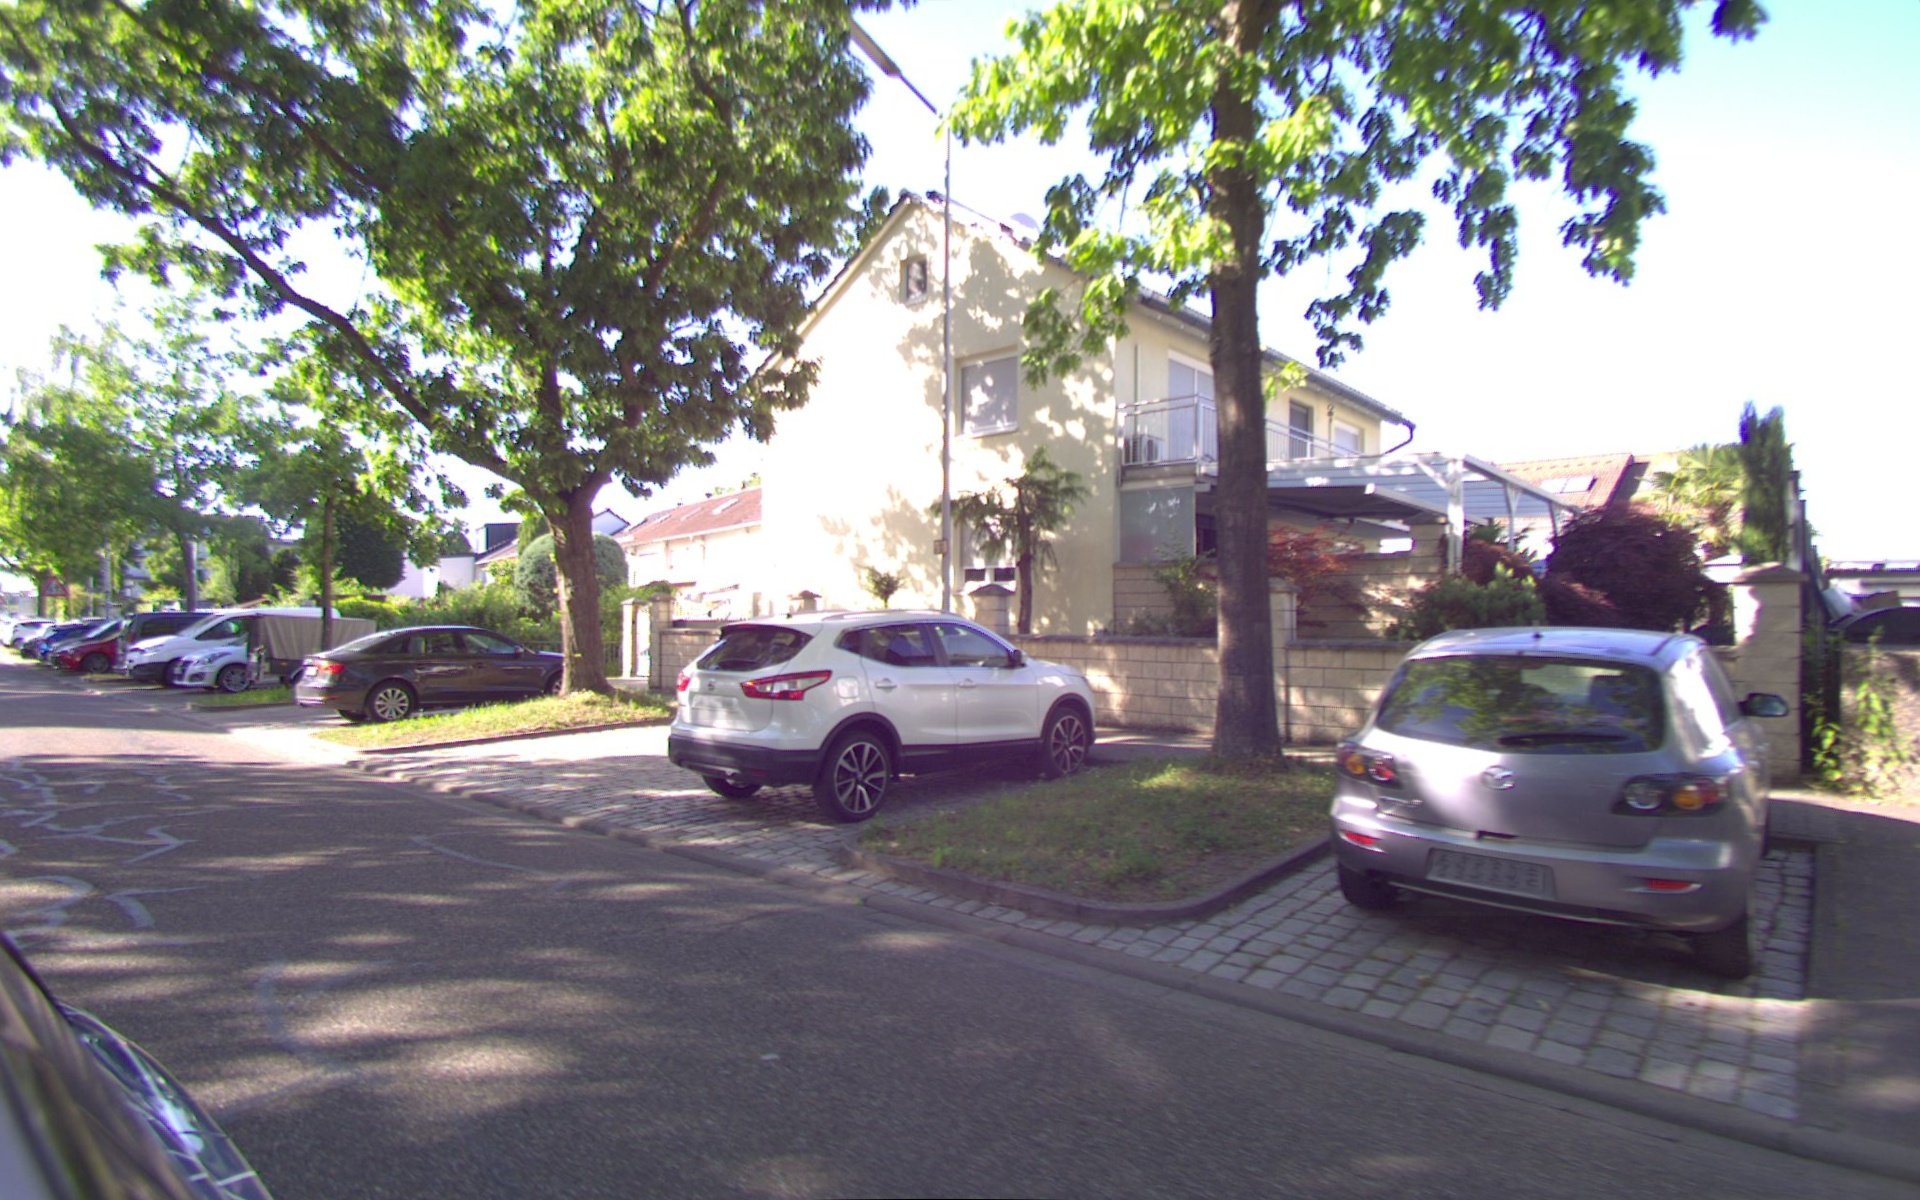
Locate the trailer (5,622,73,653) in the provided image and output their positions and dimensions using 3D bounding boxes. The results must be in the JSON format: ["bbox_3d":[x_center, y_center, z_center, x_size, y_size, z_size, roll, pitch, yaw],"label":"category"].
[{"bbox_3d":[-53.204,2.156,58.458,1.298,1.659,2.732,1,0,39],"label":"trailer"}]

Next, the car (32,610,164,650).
[{"bbox_3d":[-35.255,1.228,41.468,1.796,1.526,3.956,-1,-2,44],"label":"car"}]

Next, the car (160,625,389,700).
[{"bbox_3d":[-15.363,1.346,22.860,1.688,1.528,3.948,-1,-2,38],"label":"car"}]

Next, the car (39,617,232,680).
[{"bbox_3d":[-26.602,1.507,32.786,1.794,1.782,4.624,-2,-1,41],"label":"car"}]

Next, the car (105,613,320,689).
[{"bbox_3d":[-19.463,1.253,26.499,1.965,1.783,4.197,-1,-1,39],"label":"car"}]

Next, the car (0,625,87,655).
[{"bbox_3d":[-48.314,2.088,53.163,1.707,1.507,3.477,-2,-2,41],"label":"car"}]

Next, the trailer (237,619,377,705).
[{"bbox_3d":[-13.637,1.247,21.171,2.210,1.686,1.475,1,-3,-44],"label":"trailer"}]

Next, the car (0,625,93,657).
[{"bbox_3d":[-49.820,2.184,54.903,1.919,1.586,3.917,0,0,36],"label":"car"}]

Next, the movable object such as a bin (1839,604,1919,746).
[{"bbox_3d":[10.077,0.783,10.731,1.123,1.447,0.943,0,-2,41],"label":"movable object such as a bin"}]

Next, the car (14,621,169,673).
[{"bbox_3d":[-32.083,1.680,37.467,1.760,1.737,4.165,-1,-1,42],"label":"car"}]

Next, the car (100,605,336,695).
[{"bbox_3d":[-17.713,1.150,24.320,1.998,1.959,4.194,-1,-2,39],"label":"car"}]

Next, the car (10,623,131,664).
[{"bbox_3d":[-39.425,1.882,44.907,1.707,1.626,3.894,-2,-1,44],"label":"car"}]

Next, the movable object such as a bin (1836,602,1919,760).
[{"bbox_3d":[9.307,0.756,9.761,1.275,1.445,1.480,0,-2,41],"label":"movable object such as a bin"}]

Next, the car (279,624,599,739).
[{"bbox_3d":[-8.037,1.161,15.898,1.691,1.483,4.163,-2,-1,44],"label":"car"}]

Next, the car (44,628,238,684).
[{"bbox_3d":[-24.939,1.645,30.940,1.837,1.511,4.427,-1,-1,43],"label":"car"}]

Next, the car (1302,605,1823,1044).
[{"bbox_3d":[3.551,0.800,5.643,1.808,1.434,3.994,-1,0,39],"label":"car"}]

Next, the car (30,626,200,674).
[{"bbox_3d":[-28.800,1.647,34.600,1.722,1.435,4.228,-1,-1,40],"label":"car"}]

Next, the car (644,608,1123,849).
[{"bbox_3d":[-0.463,0.899,9.009,1.792,1.579,4.142,-2,-1,42],"label":"car"}]
